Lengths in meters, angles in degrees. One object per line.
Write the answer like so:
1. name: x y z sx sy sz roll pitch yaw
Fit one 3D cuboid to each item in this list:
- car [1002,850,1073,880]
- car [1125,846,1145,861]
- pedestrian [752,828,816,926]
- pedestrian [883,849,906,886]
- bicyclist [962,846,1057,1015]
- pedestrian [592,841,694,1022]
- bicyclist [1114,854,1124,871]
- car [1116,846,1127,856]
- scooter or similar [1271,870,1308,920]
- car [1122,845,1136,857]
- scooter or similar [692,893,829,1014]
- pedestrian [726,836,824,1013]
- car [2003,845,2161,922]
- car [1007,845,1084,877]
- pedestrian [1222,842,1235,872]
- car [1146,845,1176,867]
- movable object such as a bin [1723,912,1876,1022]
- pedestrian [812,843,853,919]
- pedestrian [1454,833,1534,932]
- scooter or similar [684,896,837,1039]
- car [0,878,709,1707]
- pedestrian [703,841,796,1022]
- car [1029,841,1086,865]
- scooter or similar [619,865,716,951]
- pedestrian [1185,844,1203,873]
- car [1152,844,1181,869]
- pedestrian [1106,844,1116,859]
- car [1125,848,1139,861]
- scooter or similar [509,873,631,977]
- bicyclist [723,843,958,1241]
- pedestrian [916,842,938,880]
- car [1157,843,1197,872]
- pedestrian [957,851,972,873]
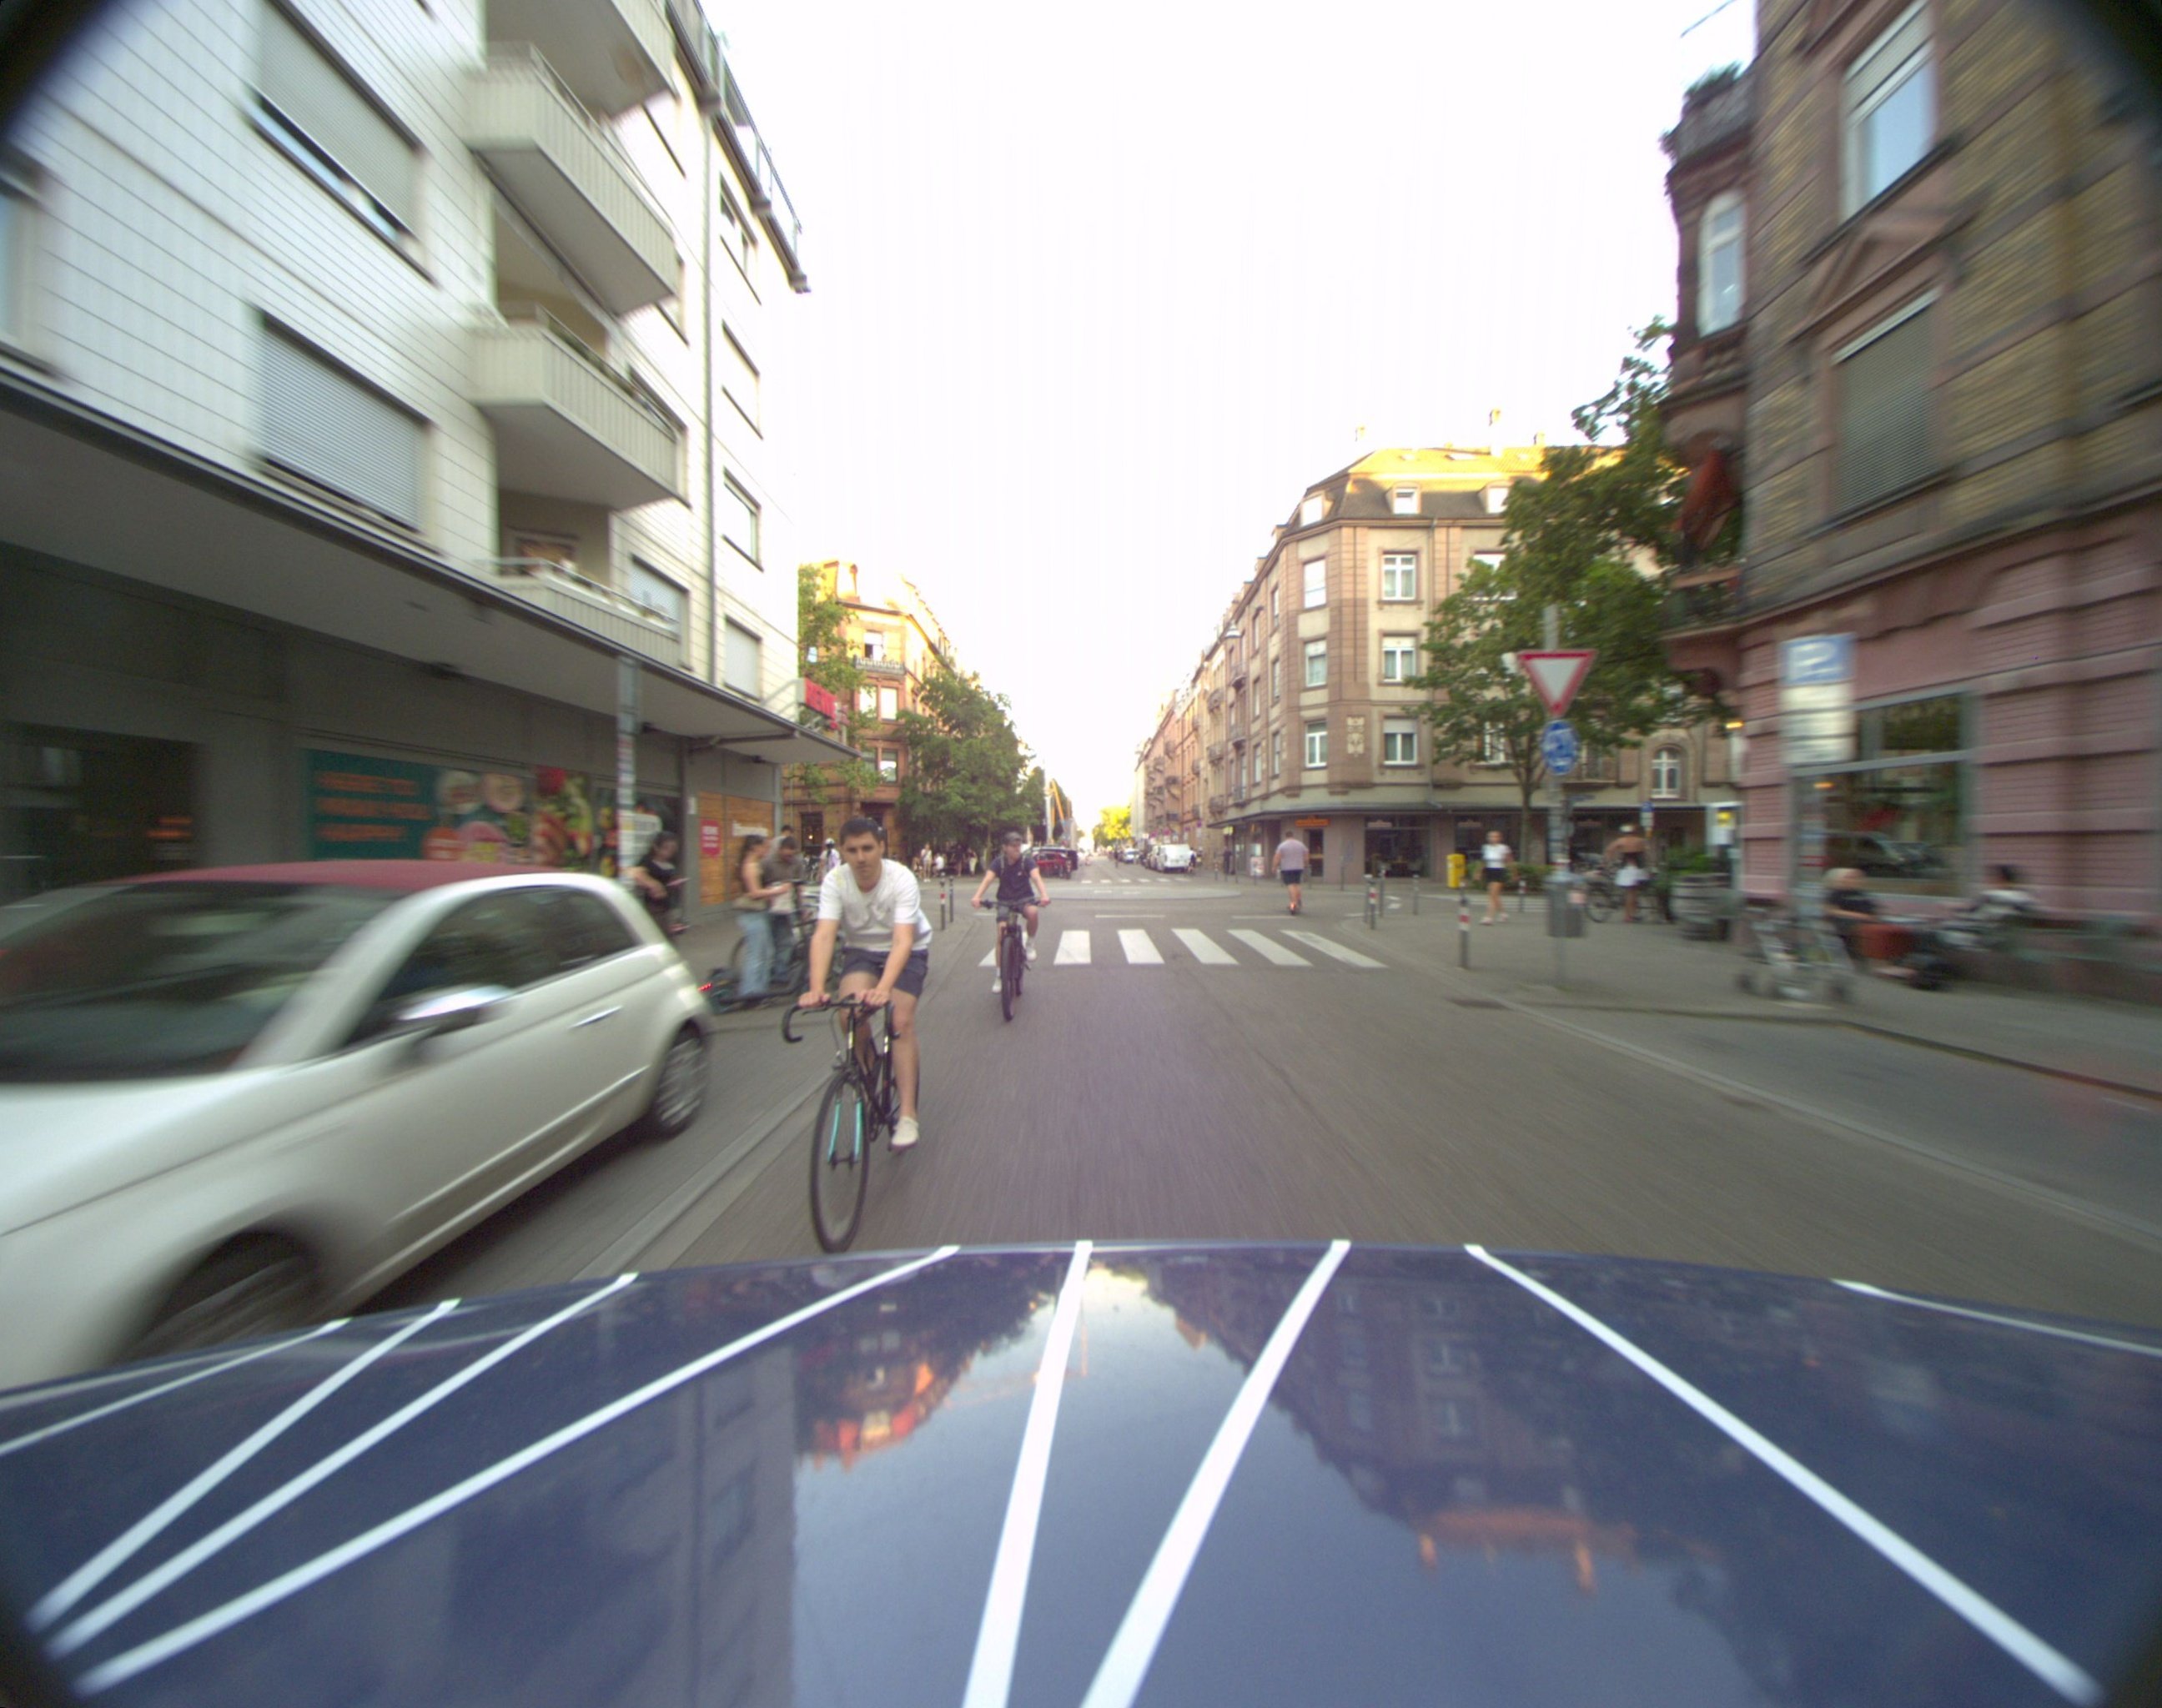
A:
1. car: -2.698 0.630 47.228 4.006 1.658 1.823 -2 2 -31
2. car: 6.623 -0.104 93.895 2.141 1.811 4.540 -1 1 1
3. pedestrian: -6.008 0.446 15.443 0.762 1.901 1.190 2 1 1
4. pedestrian: -8.128 0.604 33.182 0.537 1.597 0.870 0 0 27
5. bicyclist: -0.683 0.721 7.534 0.794 1.562 0.826 -1 0 2
6. pedestrian: -4.114 0.701 7.183 0.562 1.622 0.726 1 0 -6
7. bicyclist: 3.765 0.868 75.227 0.754 1.630 1.200 -1 0 -5
8. car: 7.150 -0.510 134.379 1.908 1.729 3.849 -1 2 4
9. scooter or similar: 4.865 0.938 17.745 0.808 1.098 1.173 0 1 15
10. car: 7.222 -0.438 113.410 1.998 1.729 4.000 -1 2 4
11. scooter or similar: -3.241 0.993 7.760 1.163 1.164 0.537 1 -1 -7
12. pedestrian: -3.165 0.694 7.920 0.662 1.746 0.738 1 1 5
13. car: 24.910 0.655 17.499 1.888 1.616 4.472 -1 2 0
14. car: -2.612 0.466 55.601 5.153 2.086 2.112 -2 2 -25
15. pedestrian: 8.842 0.203 45.589 0.654 1.768 0.693 -1 0 19
16. car: 6.850 0.144 65.470 2.141 1.811 4.540 -1 1 1
17. movable object such as a bin: 6.835 1.056 7.268 0.763 0.910 0.729 -1 2 -3
18. pedestrian: -5.589 0.592 17.138 0.664 1.642 0.883 2 1 -6
19. pedestrian: 7.800 0.533 14.391 1.048 1.800 0.756 -1 -1 -1
20. scooter or similar: -2.922 0.985 6.993 0.535 1.164 1.166 0 -1 40
21. car: -2.921 0.920 2.682 1.596 1.492 3.422 1 1 -2
22. pedestrian: -3.107 0.680 7.120 0.649 1.591 0.590 0 1 -40
23. car: -2.310 -0.117 75.868 5.153 2.182 2.333 -2 2 -25
24. scooter or similar: -6.534 0.816 12.101 0.479 1.211 1.624 1 2 8
25. pedestrian: 6.950 0.282 46.801 0.747 1.733 1.215 -1 1 26
26. car: 6.645 0.165 59.619 1.879 1.893 4.326 -1 1 1
27. pedestrian: 4.911 -0.377 123.241 1.394 2.465 1.237 0 1 18
28. car: 7.010 0.063 104.450 1.839 1.633 3.925 -1 2 4
29. scooter or similar: -6.481 0.863 9.683 0.536 1.197 1.166 0 0 27
30. bicyclist: -0.987 0.716 3.355 0.650 1.500 0.953 -1 2 3
31. pedestrian: -7.490 0.333 37.015 0.673 1.858 0.911 0 2 15
32. car: 6.699 0.214 53.613 2.141 1.947 4.768 -1 1 -1
33. pedestrian: -6.804 0.465 44.305 0.722 1.298 0.750 -1 1 -19
